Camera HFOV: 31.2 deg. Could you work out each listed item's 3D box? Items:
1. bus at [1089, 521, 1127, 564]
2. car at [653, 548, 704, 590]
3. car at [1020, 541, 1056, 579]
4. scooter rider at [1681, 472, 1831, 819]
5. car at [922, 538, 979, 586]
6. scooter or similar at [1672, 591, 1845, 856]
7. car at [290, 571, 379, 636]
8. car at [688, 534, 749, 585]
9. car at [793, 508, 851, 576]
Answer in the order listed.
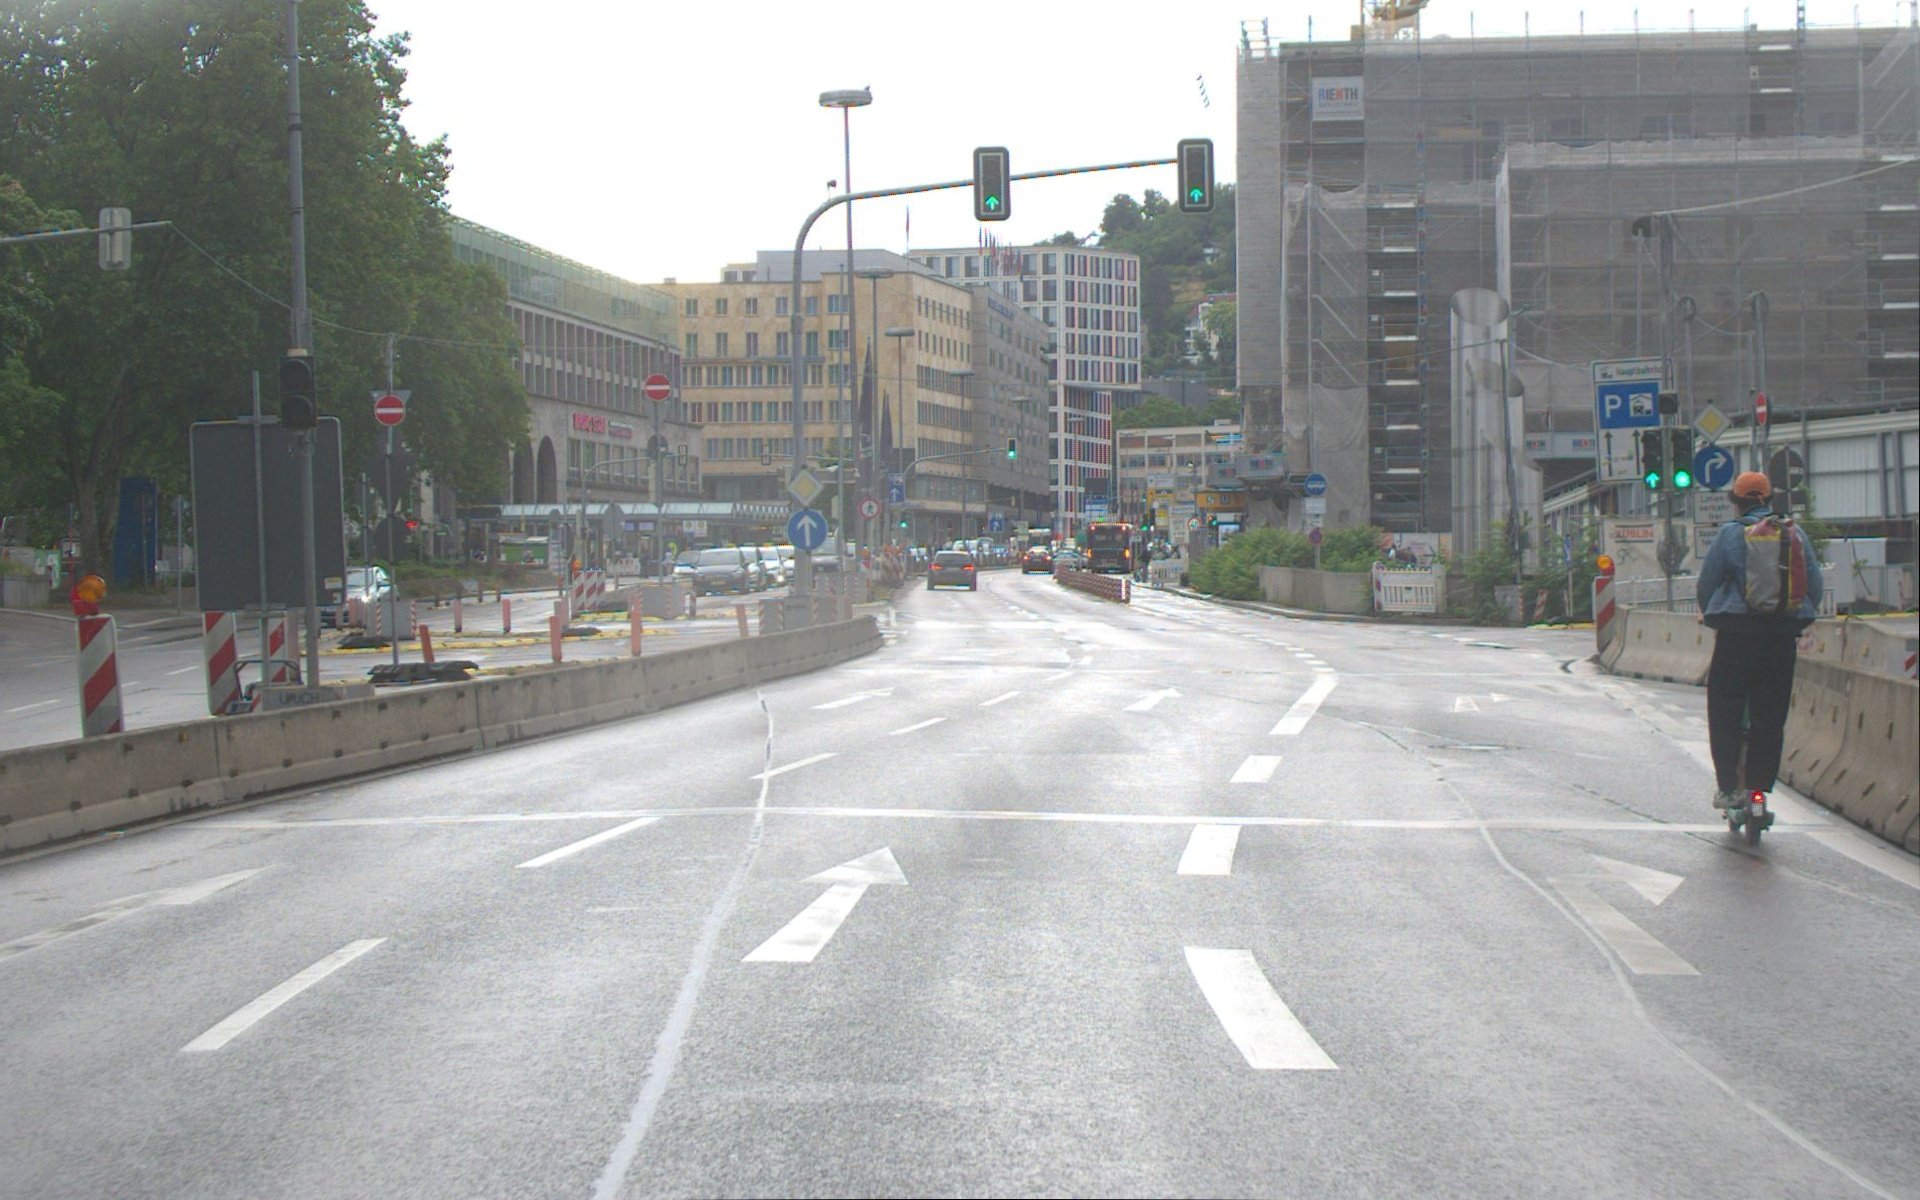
[{"bbox_3d":[9.121,-3.546,211.926,1.994,2.423,3.999,-2,-1,6],"label":"bus"},{"bbox_3d":[-11.721,-1.280,143.320,1.902,1.523,4.177,-2,-1,-2],"label":"car"},{"bbox_3d":[4.581,-2.339,201.511,1.993,2.007,3.999,-2,-1,2],"label":"car"},{"bbox_3d":[4.181,0.228,18.104,0.597,1.779,0.997,0,0,3],"label":"scooter rider"},{"bbox_3d":[-0.357,-1.388,126.172,1.902,1.523,4.177,-2,-1,-2],"label":"car"},{"bbox_3d":[4.188,0.619,18.127,0.597,1.314,1.667,0,1,3],"label":"scooter or similar"},{"bbox_3d":[-15.286,0.066,84.176,1.765,1.458,4.178,-3,1,-6],"label":"car"},{"bbox_3d":[-8.314,-1.379,118.611,1.902,1.523,4.177,-2,-1,-2],"label":"car"},{"bbox_3d":[-4.792,-1.992,119.210,1.902,2.075,4.177,-2,-1,-2],"label":"car"}]
